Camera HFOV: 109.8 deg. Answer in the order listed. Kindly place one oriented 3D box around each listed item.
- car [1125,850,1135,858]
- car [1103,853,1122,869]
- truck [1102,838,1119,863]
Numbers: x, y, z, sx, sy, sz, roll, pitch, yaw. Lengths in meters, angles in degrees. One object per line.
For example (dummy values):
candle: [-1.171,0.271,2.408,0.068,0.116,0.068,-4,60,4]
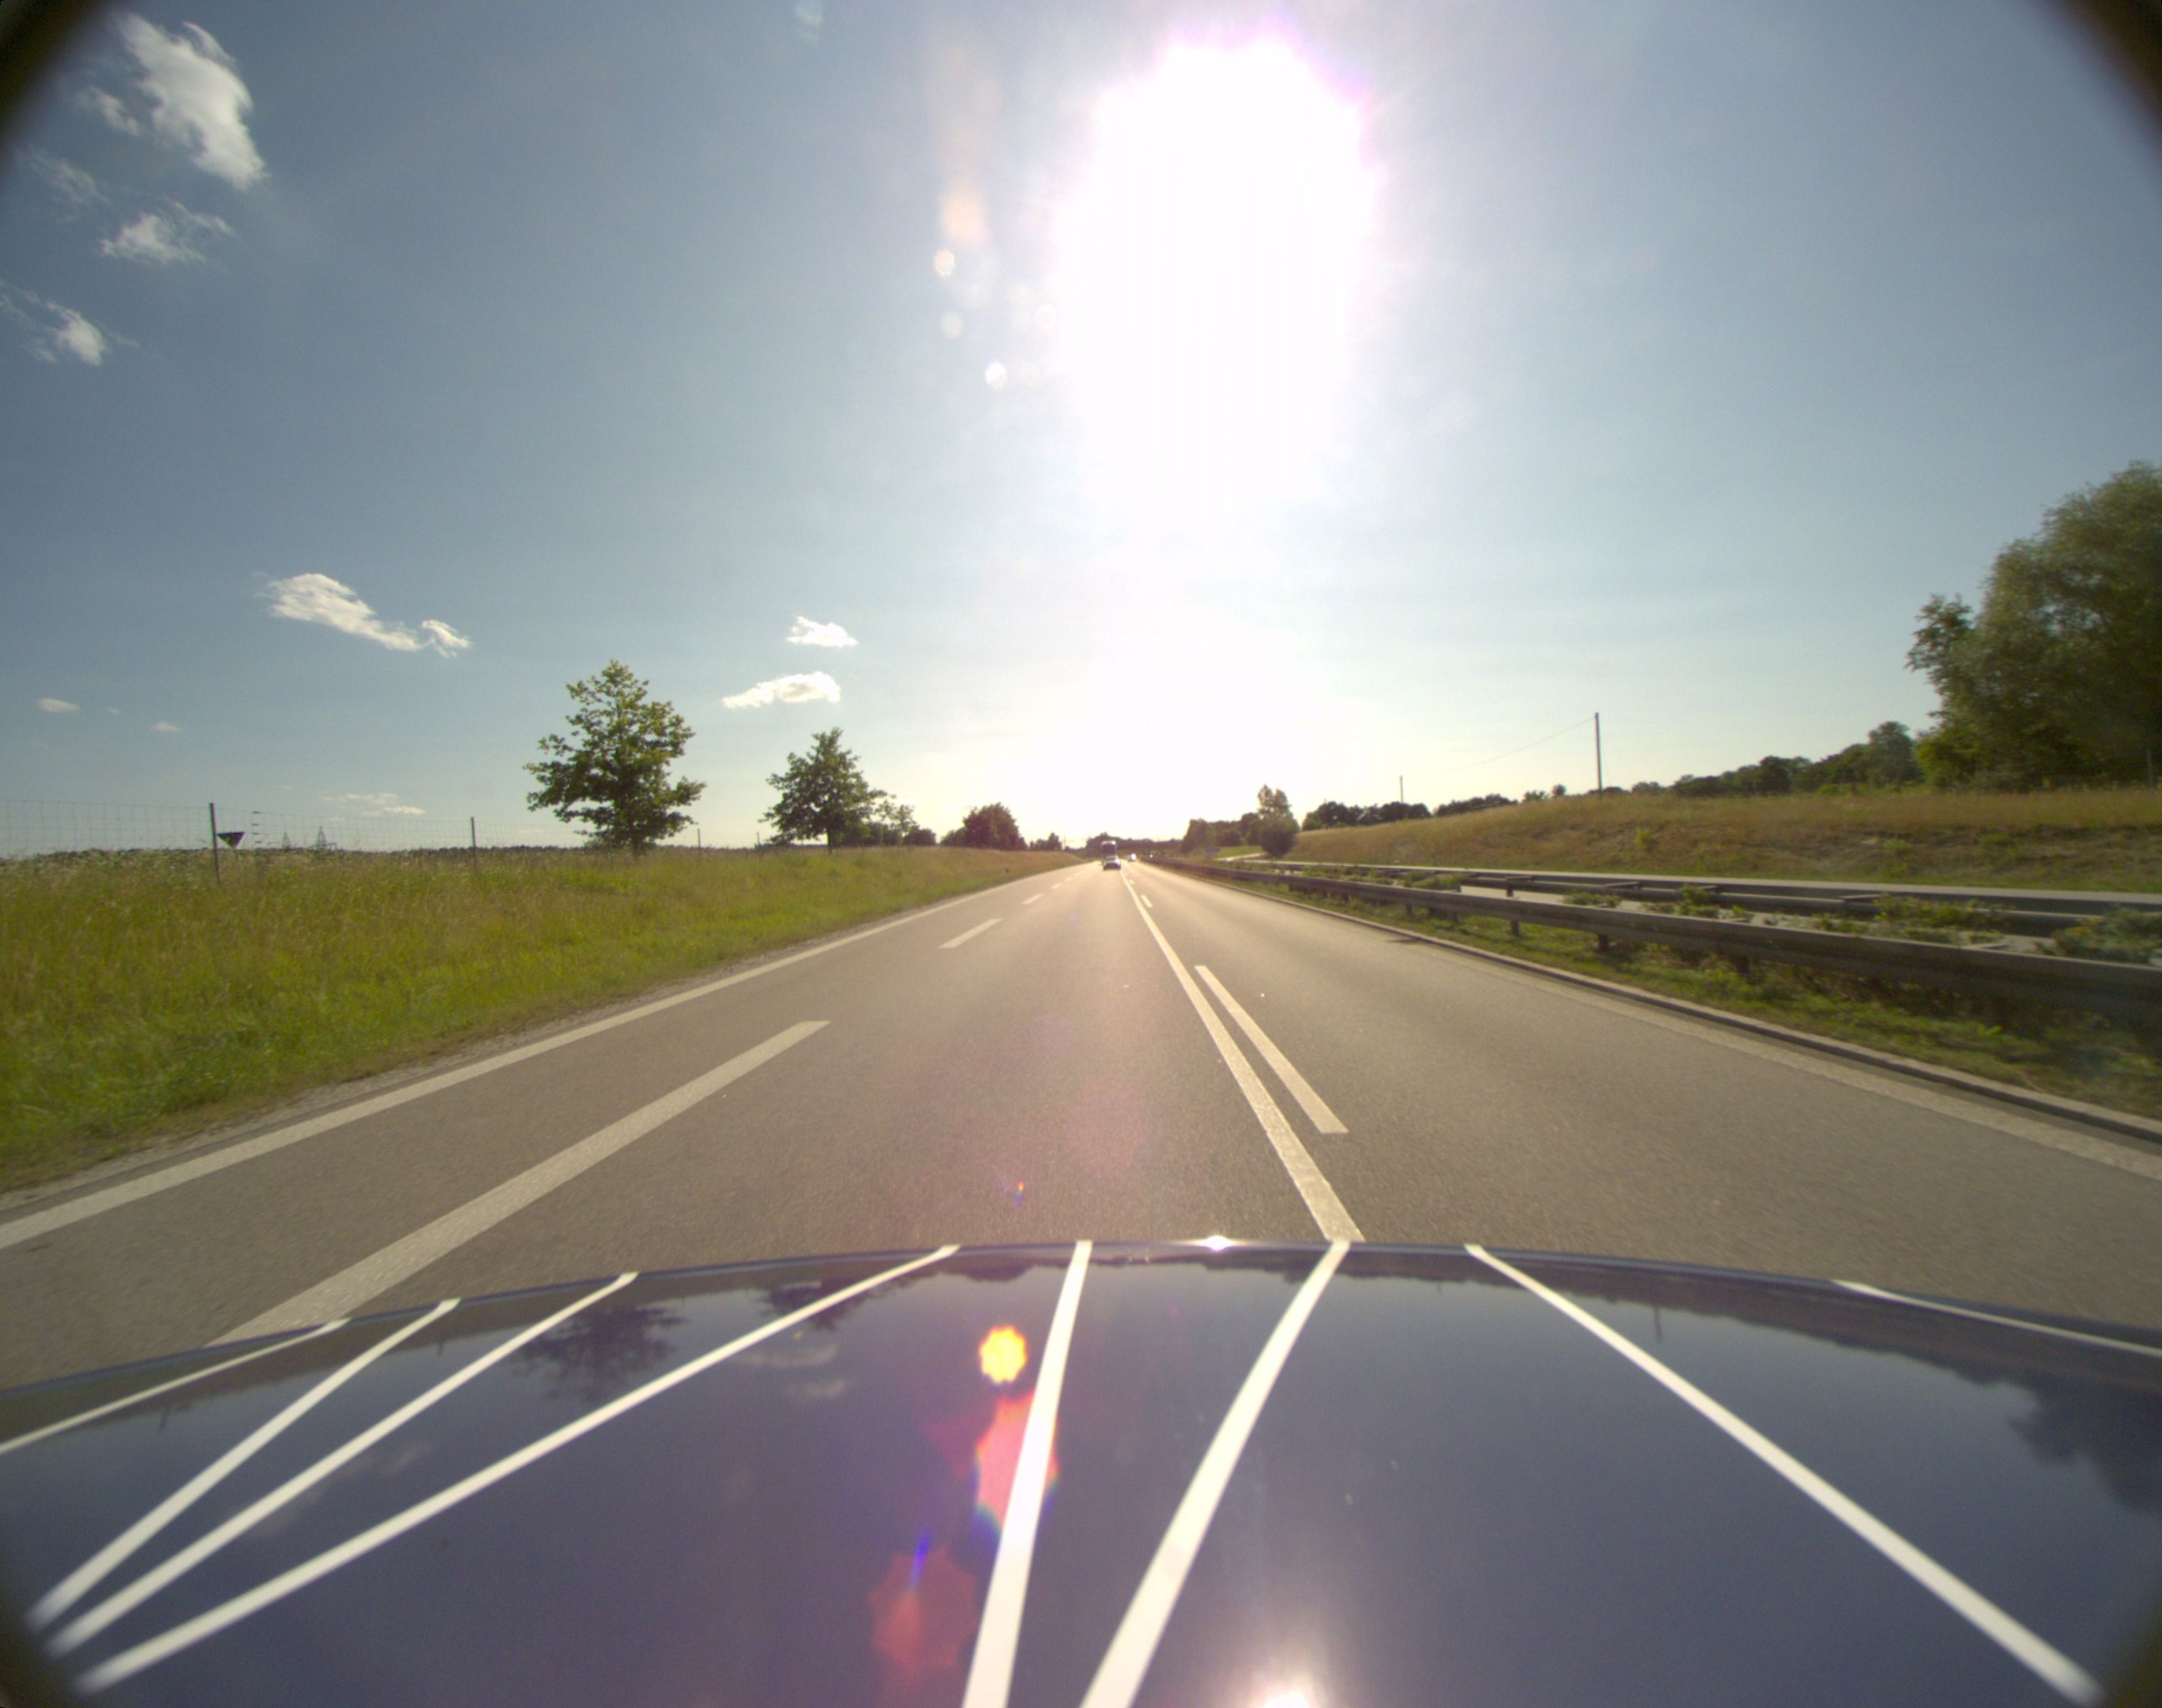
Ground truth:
car: [10.557,0.097,164.025,1.998,1.652,4.001,-1,0,2]
car: [3.314,0.688,78.605,1.870,1.514,4.284,-1,0,3]
truck: [5.230,-0.674,133.905,2.536,4.228,11.267,-2,1,3]
